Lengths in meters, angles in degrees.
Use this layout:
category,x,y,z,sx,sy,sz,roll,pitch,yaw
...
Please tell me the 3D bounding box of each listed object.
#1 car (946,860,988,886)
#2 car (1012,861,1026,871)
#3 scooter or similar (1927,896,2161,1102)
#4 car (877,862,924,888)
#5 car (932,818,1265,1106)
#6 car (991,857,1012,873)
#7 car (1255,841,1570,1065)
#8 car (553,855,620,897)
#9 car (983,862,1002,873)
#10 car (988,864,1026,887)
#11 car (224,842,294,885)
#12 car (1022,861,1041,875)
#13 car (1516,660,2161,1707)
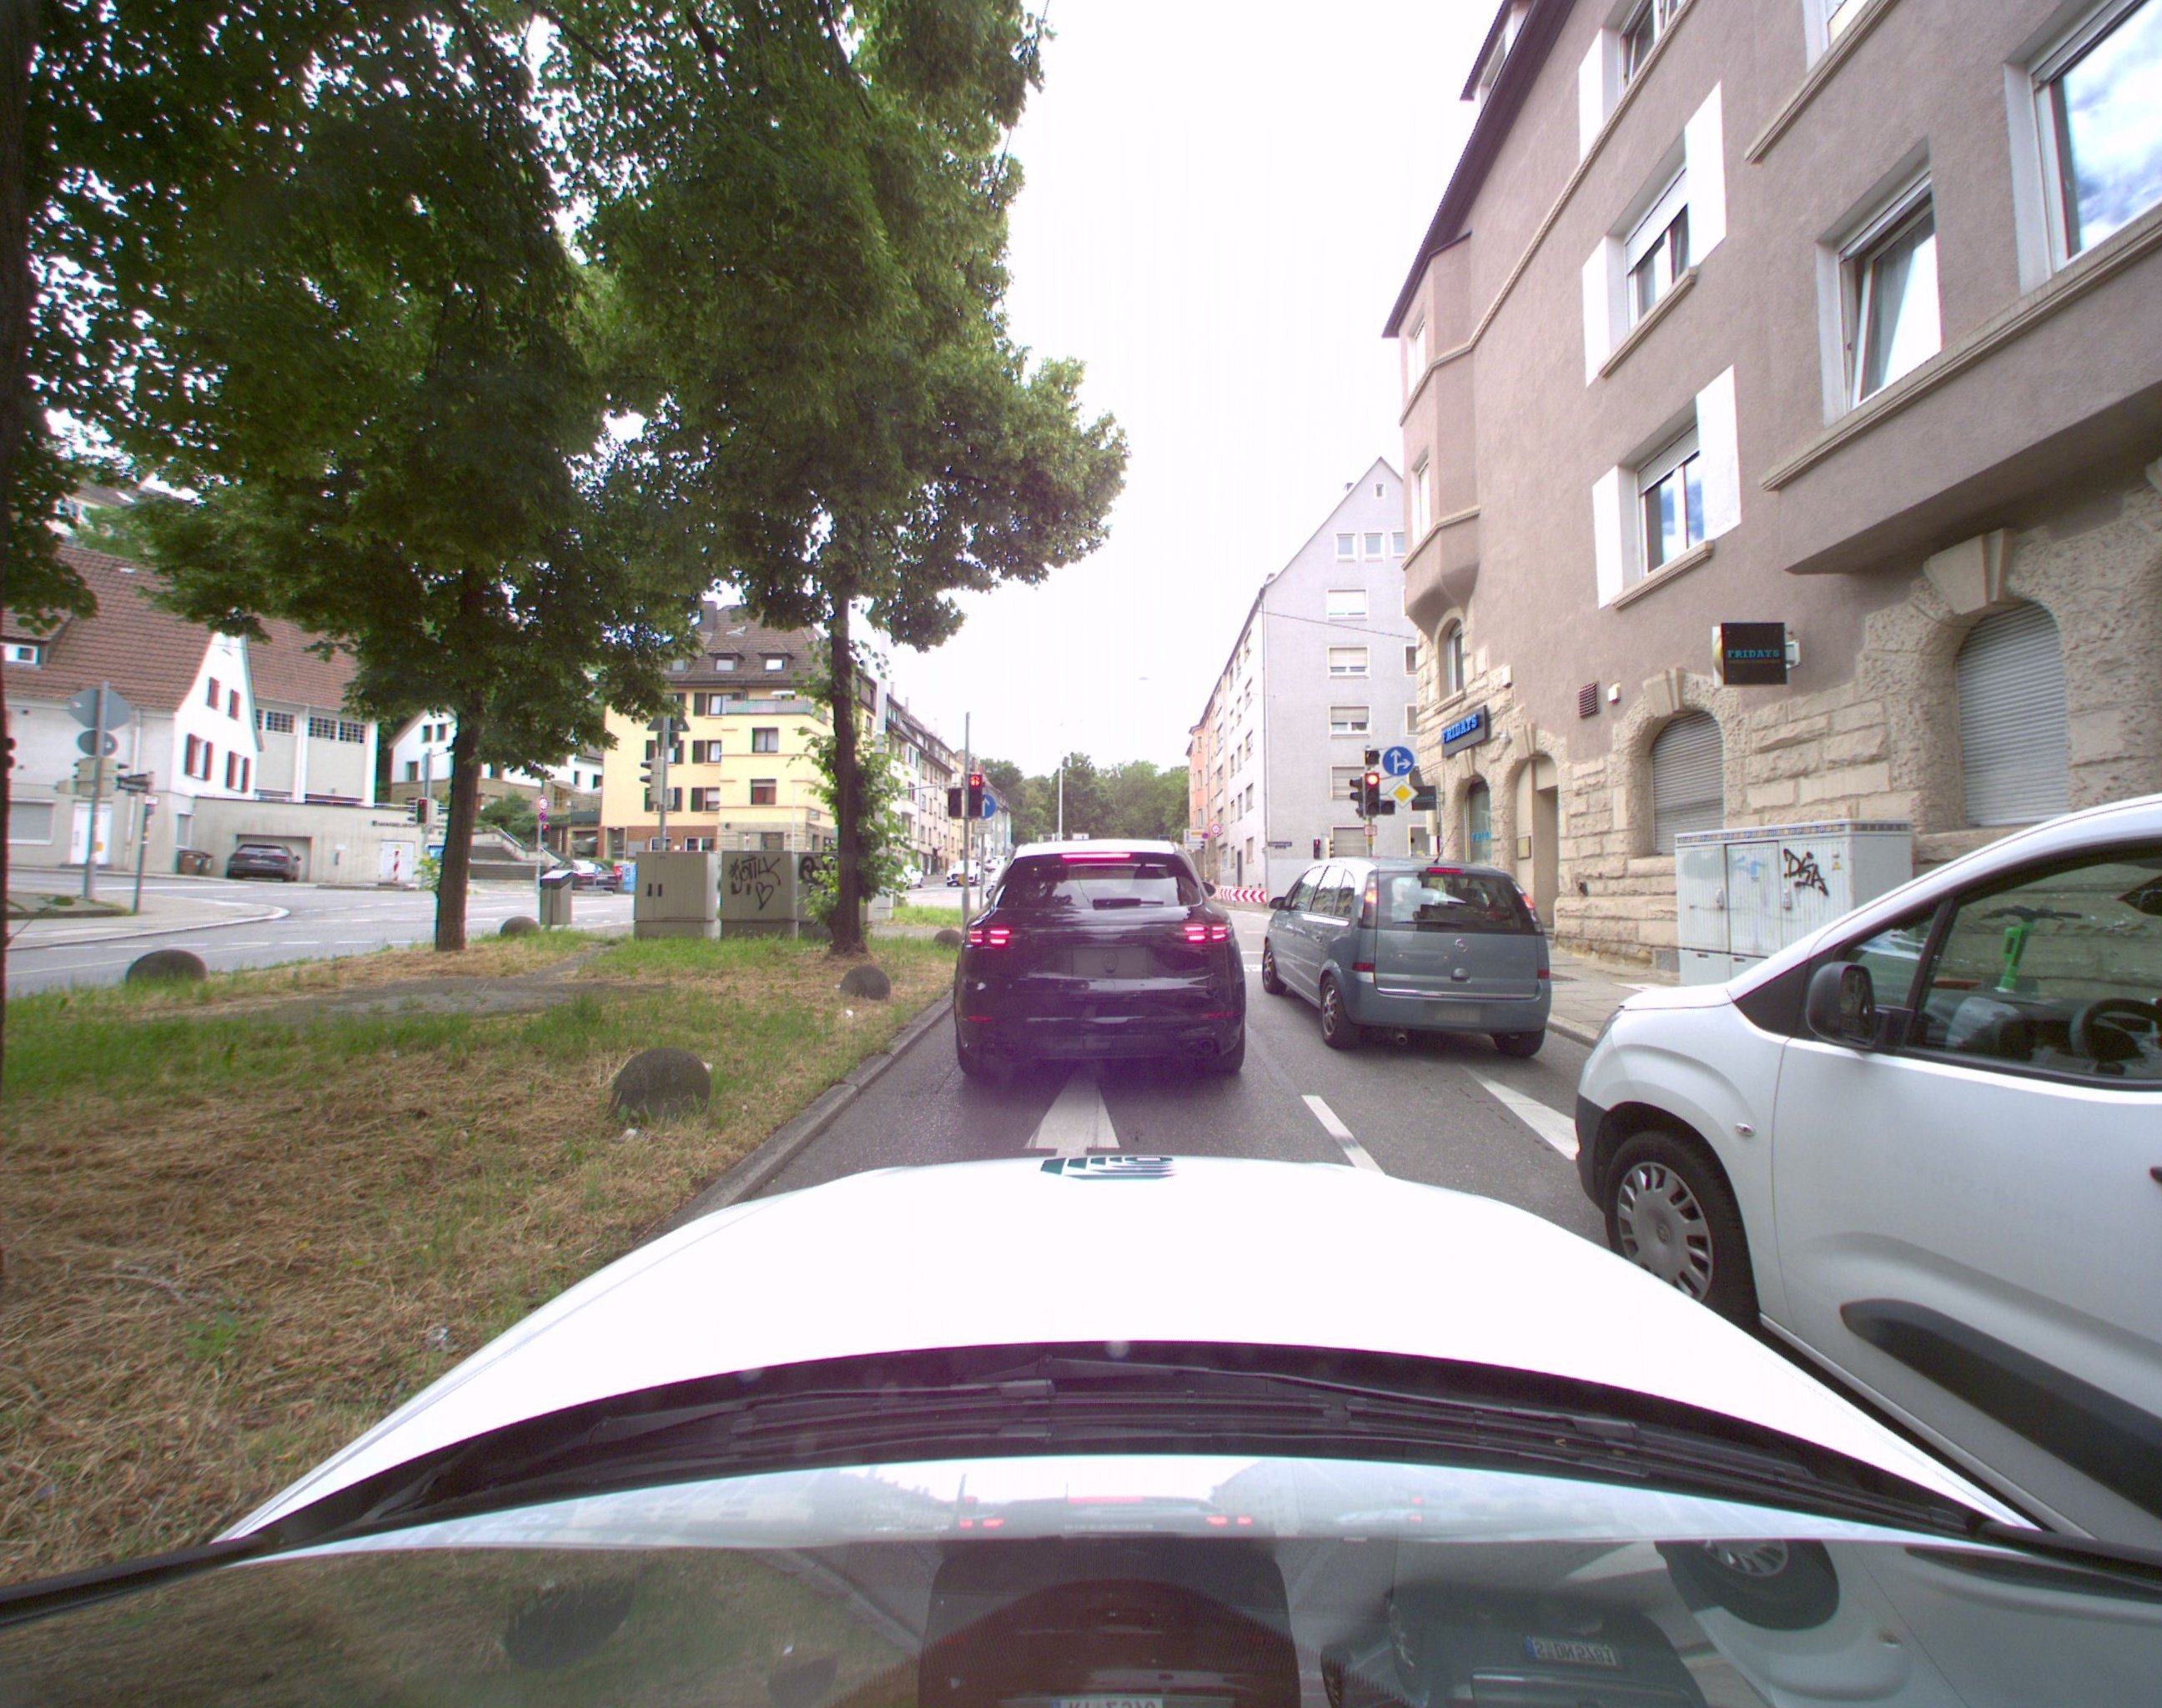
category,x,y,z,sx,sy,sz,roll,pitch,yaw
car,-7.524,1.217,54.014,1.966,1.610,4.560,0,0,2
car,-9.520,1.859,125.925,1.682,1.538,3.815,0,-1,2
scooter or similar,6.459,0.862,5.276,0.524,1.104,1.424,-1,-1,4
car,-10.894,1.269,49.371,1.837,1.486,3.899,0,0,2
car,0.164,0.658,6.849,1.948,1.674,4.001,-1,-1,2
car,-10.249,1.409,105.108,2.008,2.045,4.669,0,-1,2
car,2.871,0.753,7.930,1.622,1.598,3.670,3,0,2
car,-23.589,1.011,38.846,3.477,1.596,1.881,7,4,44
car,-10.822,1.642,99.328,1.732,1.387,3.815,0,0,2
car,-4.578,1.309,50.838,1.854,1.388,4.096,0,0,2
car,-32.136,0.359,31.822,3.019,1.405,1.681,2,-4,42
car,-5.490,1.558,90.805,1.611,1.480,3.828,-1,-2,5
car,2.834,0.593,1.094,1.969,1.775,4.676,3,0,0
